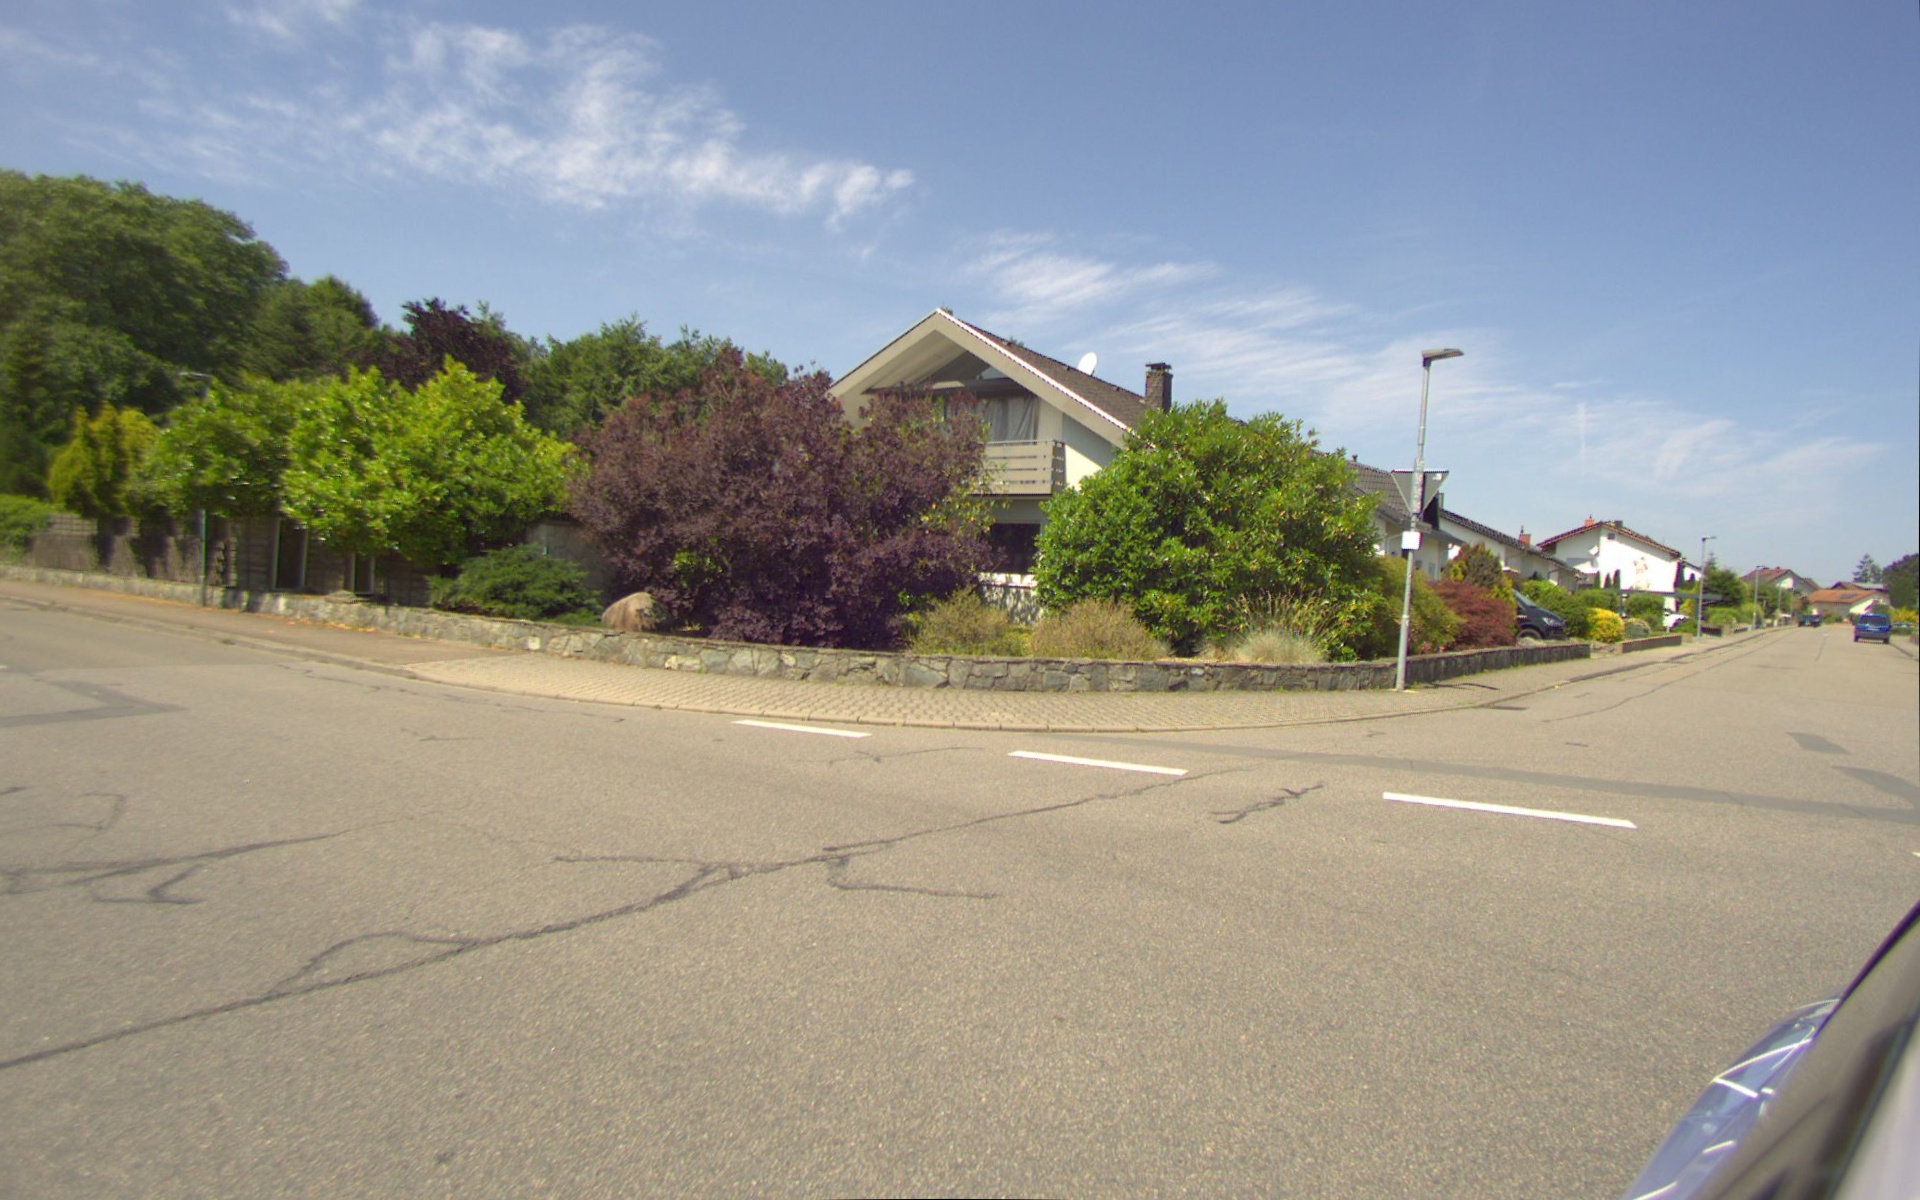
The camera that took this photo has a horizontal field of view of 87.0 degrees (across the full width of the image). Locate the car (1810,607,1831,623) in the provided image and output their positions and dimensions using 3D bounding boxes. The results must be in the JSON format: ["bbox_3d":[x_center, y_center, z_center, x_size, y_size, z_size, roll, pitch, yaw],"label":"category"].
[{"bbox_3d":[115.093,2.027,135.356,1.866,1.949,3.946,3,2,37],"label":"car"}]

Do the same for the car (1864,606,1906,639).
[{"bbox_3d":[57.761,1.376,63.207,1.822,1.905,3.938,3,2,43],"label":"car"}]

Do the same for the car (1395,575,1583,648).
[{"bbox_3d":[16.418,0.303,31.553,4.937,1.939,1.904,4,2,36],"label":"car"}]
